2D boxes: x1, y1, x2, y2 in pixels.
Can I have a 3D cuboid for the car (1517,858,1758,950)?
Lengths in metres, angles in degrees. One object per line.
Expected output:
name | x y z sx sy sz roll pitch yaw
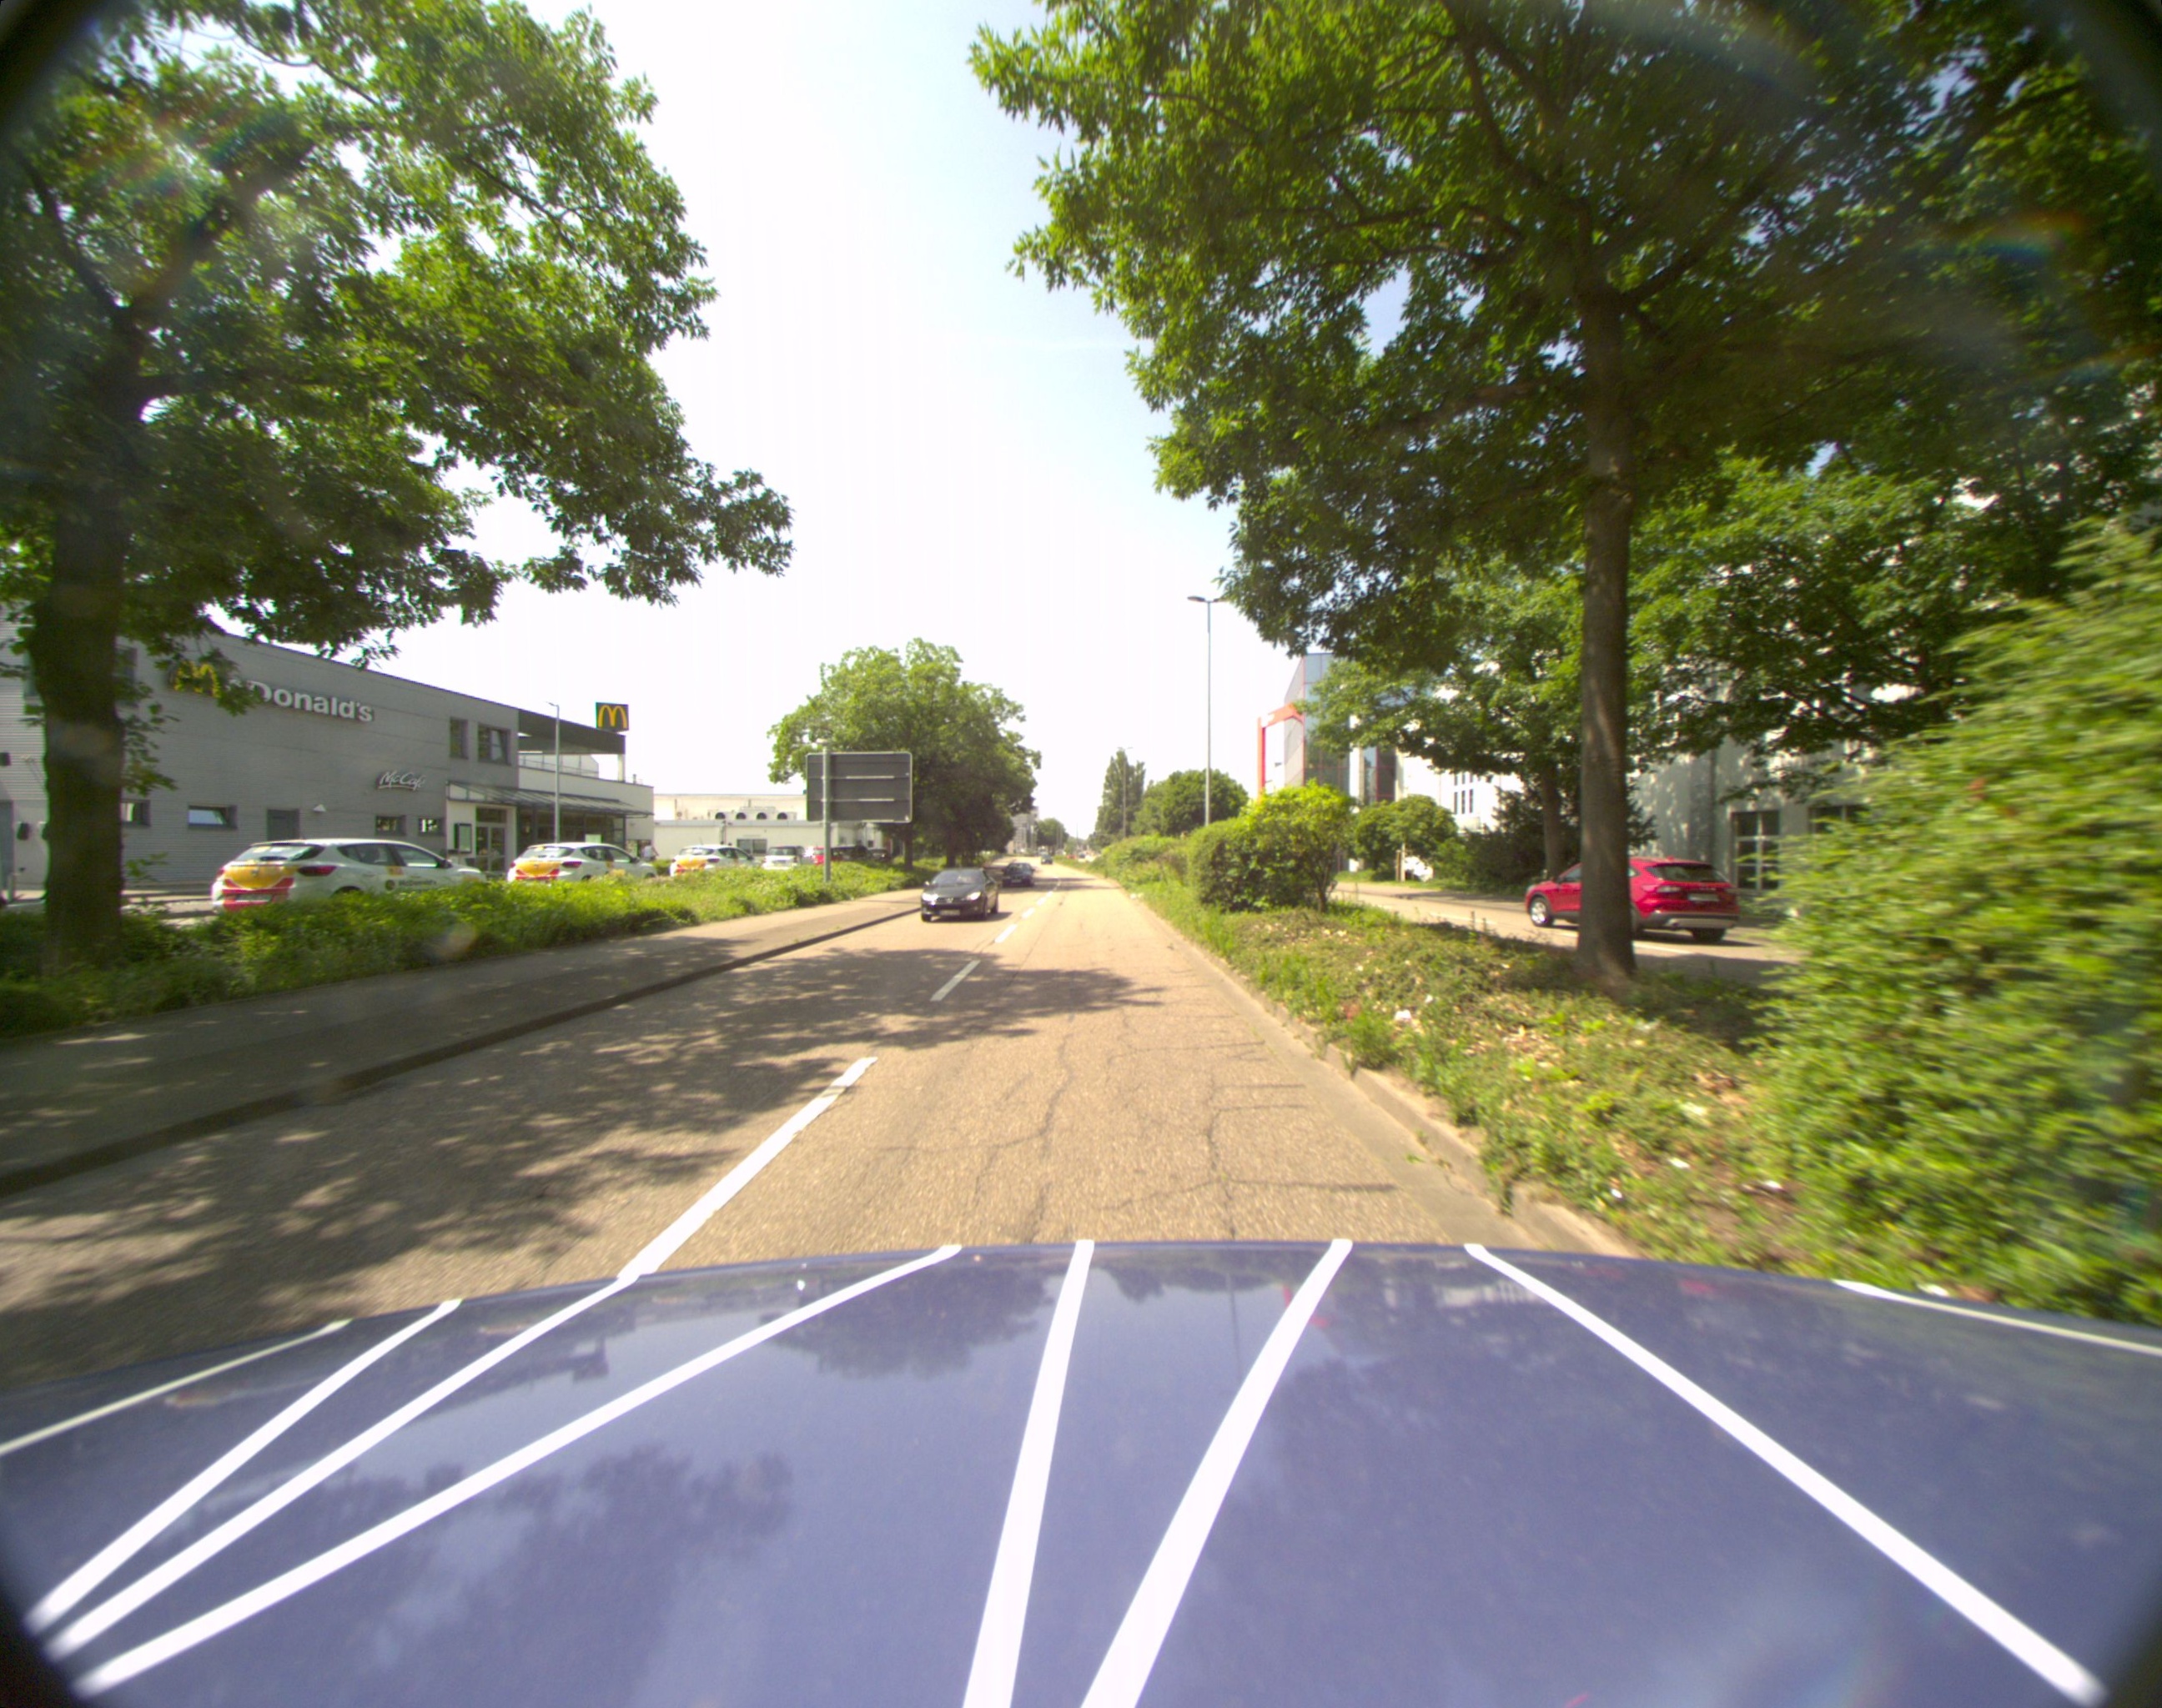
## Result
car | 11.469 0.922 16.154 1.825 1.626 4.520 1 0 1

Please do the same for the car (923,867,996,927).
car | -3.207 1.086 20.608 1.642 1.349 3.497 -1 1 -4

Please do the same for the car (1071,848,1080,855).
car | -1.163 -0.587 157.261 1.734 1.316 4.147 1 1 -4

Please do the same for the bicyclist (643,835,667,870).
bicyclist | -22.342 -0.092 39.887 0.780 1.794 0.864 0 1 -1

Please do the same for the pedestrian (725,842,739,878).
pedestrian | -18.465 0.304 40.217 0.467 1.910 0.534 0 1 0

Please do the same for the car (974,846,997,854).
car | -19.266 -0.801 153.892 4.589 1.496 1.697 0 1 -4

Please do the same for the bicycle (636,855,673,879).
bicycle | -22.353 0.677 39.860 0.692 1.218 2.243 0 0 -1

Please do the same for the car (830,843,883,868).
car | -12.521 0.068 42.623 1.623 1.245 4.198 -3 1 1

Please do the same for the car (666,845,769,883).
car | -13.111 0.327 27.681 1.622 1.245 3.867 -1 1 4

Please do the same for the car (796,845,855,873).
car | -12.588 0.206 37.672 1.623 1.245 3.763 -1 1 0

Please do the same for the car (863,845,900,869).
car | -12.942 0.151 49.561 1.912 1.443 5.595 -1 1 -10

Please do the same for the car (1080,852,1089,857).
car | 0.855 0.115 189.960 1.727 1.408 4.244 2 0 -5

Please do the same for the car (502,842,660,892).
car | -12.835 0.280 19.809 1.597 1.151 3.737 -1 1 1

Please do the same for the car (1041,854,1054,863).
car | -5.091 0.677 114.631 1.868 1.390 3.999 1 0 -2

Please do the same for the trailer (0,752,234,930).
trailer | -13.284 -0.143 8.301 1.704 2.043 5.485 -1 0 3

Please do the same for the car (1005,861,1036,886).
car | -3.473 1.056 43.299 1.712 1.316 3.953 0 0 -6

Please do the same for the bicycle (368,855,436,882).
bicycle | -25.413 0.511 28.494 0.590 0.974 2.102 0 0 2

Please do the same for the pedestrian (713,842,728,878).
pedestrian | -19.098 0.333 40.249 0.583 1.910 0.409 0 1 0

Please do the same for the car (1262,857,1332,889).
car | 11.177 0.948 39.693 2.132 1.442 5.241 2 0 0

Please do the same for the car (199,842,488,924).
car | -12.919 0.424 13.669 1.623 1.245 3.629 -1 1 0

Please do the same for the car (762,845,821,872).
car | -12.668 0.181 33.426 1.511 1.116 2.855 -1 1 -1
